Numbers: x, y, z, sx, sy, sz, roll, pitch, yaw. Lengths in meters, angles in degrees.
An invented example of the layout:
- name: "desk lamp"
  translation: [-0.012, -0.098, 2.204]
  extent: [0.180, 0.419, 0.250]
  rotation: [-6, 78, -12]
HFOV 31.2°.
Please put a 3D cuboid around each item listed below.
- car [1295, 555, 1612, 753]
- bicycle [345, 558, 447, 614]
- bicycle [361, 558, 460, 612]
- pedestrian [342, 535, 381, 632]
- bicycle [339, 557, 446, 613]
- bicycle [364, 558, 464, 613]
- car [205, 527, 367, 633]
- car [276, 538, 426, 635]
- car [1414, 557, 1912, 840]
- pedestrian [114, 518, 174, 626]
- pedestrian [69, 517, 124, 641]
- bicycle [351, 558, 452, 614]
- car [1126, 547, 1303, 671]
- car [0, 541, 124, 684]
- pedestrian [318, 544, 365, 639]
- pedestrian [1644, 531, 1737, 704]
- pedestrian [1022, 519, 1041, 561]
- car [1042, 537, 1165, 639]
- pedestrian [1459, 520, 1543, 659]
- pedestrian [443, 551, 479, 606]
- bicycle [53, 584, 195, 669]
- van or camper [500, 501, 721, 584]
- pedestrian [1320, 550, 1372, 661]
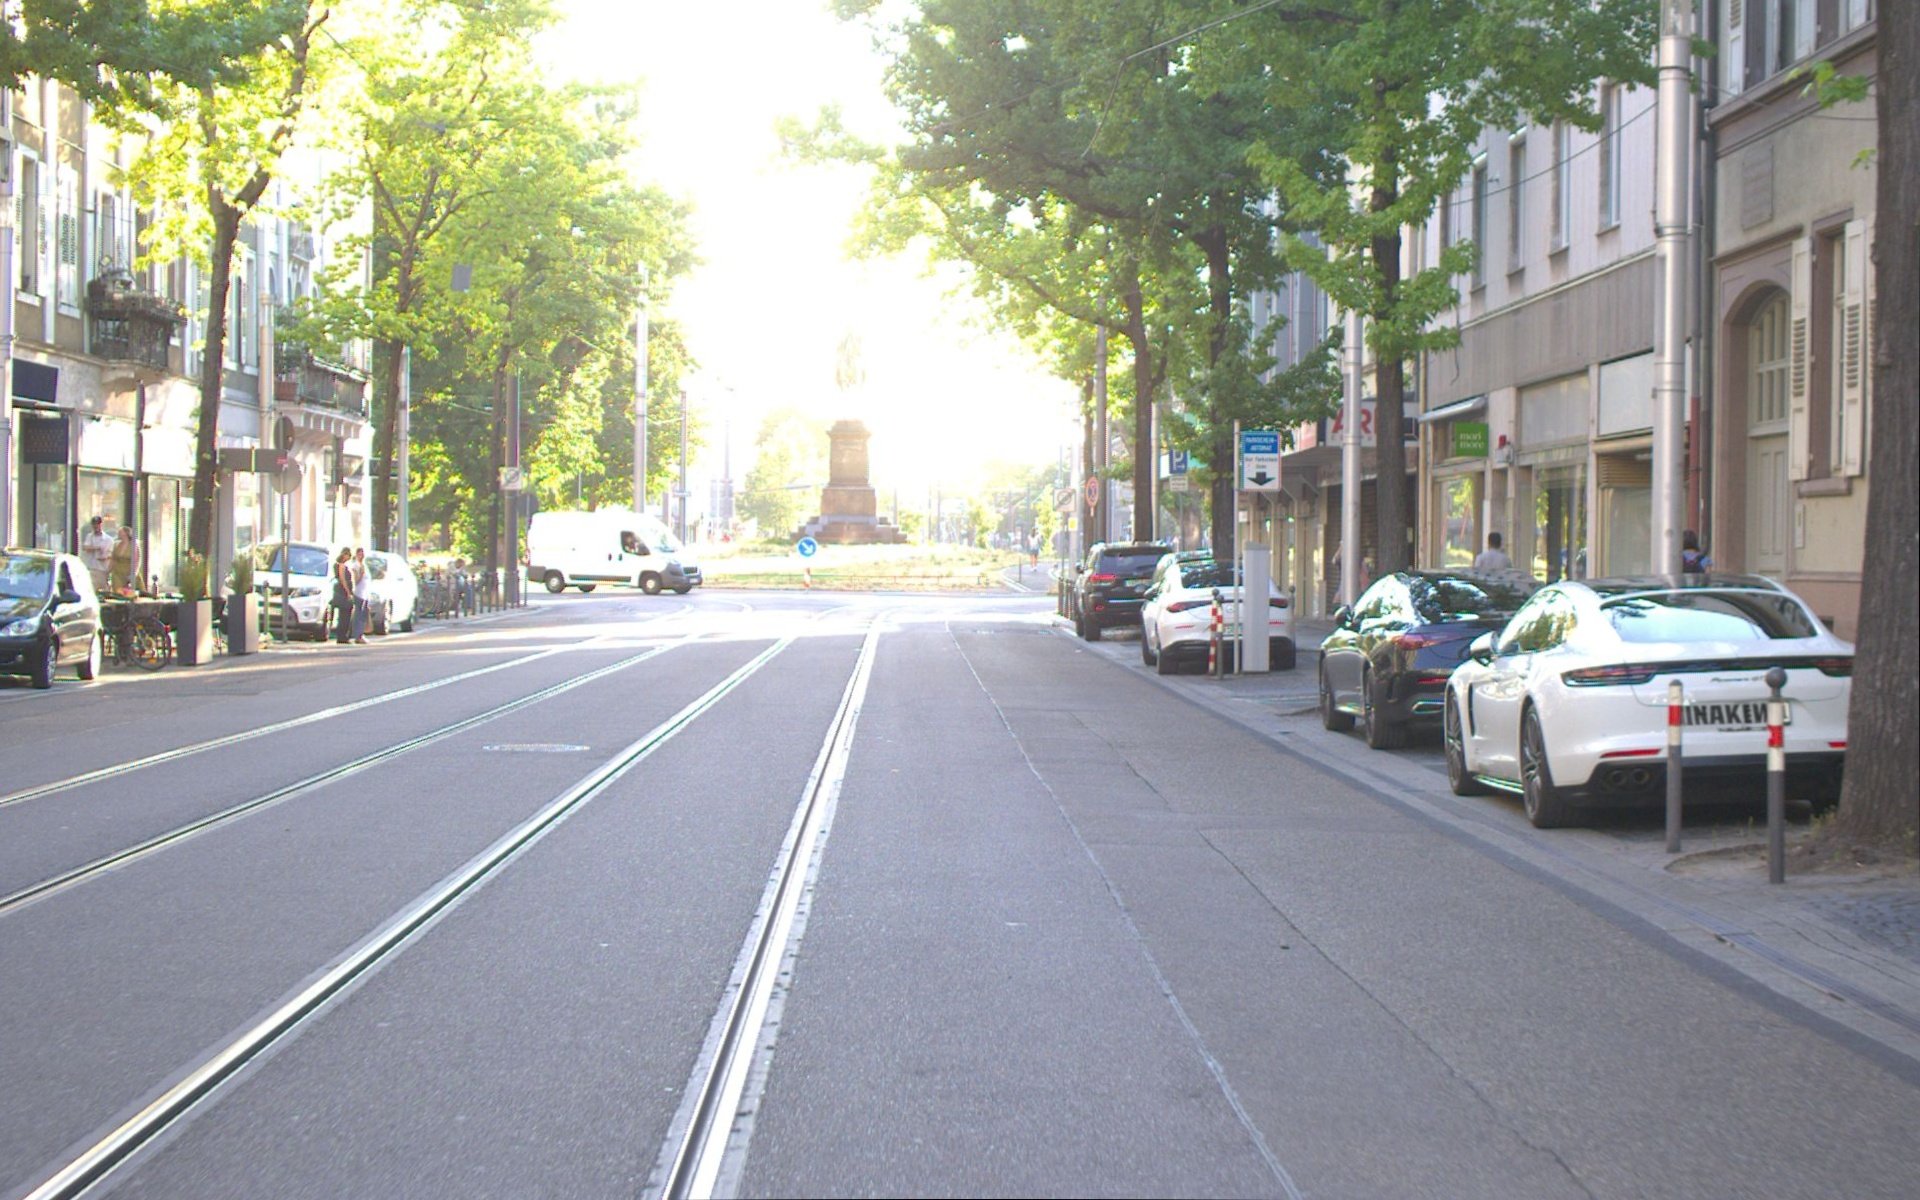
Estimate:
- name: "car"
  translation: [4.064, 0.389, 29.079]
  extent: [1.833, 1.473, 4.762]
  rotation: [-1, 1, -2]
- name: "bicycle"
  translation: [-11.911, -0.286, 72.606]
  extent: [2.023, 1.101, 0.501]
  rotation: [2, 0, -26]
- name: "bicycle"
  translation: [-11.938, -0.327, 74.708]
  extent: [2.024, 1.101, 0.501]
  rotation: [2, 0, 2]
- name: "pedestrian"
  translation: [-9.663, -0.261, 55.535]
  extent: [0.521, 1.564, 0.634]
  rotation: [0, 0, 0]
- name: "bicycle"
  translation: [-11.878, -0.315, 72.017]
  extent: [2.108, 1.101, 0.501]
  rotation: [2, 0, -26]
- name: "bicycle"
  translation: [-11.767, -0.313, 74.123]
  extent: [2.024, 1.101, 0.501]
  rotation: [2, 0, 2]
- name: "car"
  translation: [-11.269, -0.355, 57.726]
  extent: [1.836, 1.575, 4.116]
  rotation: [4, 1, -1]
- name: "car"
  translation: [-11.125, -0.272, 63.081]
  extent: [1.836, 1.575, 4.702]
  rotation: [4, 1, -1]
- name: "car"
  translation: [4.063, 0.494, 20.722]
  extent: [1.912, 1.415, 4.888]
  rotation: [-2, 1, -1]
- name: "pedestrian"
  translation: [-13.383, -0.466, 56.414]
  extent: [0.722, 1.754, 1.090]
  rotation: [1, 1, -1]
- name: "pedestrian"
  translation: [-14.165, -0.344, 56.418]
  extent: [0.722, 2.007, 0.643]
  rotation: [1, 1, -1]
- name: "bicycle"
  translation: [-11.891, -0.298, 73.243]
  extent: [2.023, 1.101, 0.501]
  rotation: [2, 0, -26]
- name: "car"
  translation: [3.405, 0.076, 46.798]
  extent: [1.993, 1.493, 4.680]
  rotation: [-3, 1, 0]
- name: "car"
  translation: [-10.517, 0.092, 37.953]
  extent: [1.665, 1.423, 3.828]
  rotation: [3, 1, -2]
- name: "pedestrian"
  translation: [-9.844, -0.134, 54.713]
  extent: [0.620, 1.504, 0.729]
  rotation: [0, 0, 0]
- name: "pedestrian"
  translation: [7.193, 0.166, 33.871]
  extent: [0.658, 1.659, 0.888]
  rotation: [-2, 1, -2]
- name: "pedestrian"
  translation: [2.746, -2.325, 132.307]
  extent: [0.636, 1.600, 0.772]
  rotation: [0, 1, -3]
- name: "car"
  translation: [2.641, -0.254, 64.254]
  extent: [1.938, 1.753, 4.680]
  rotation: [-3, 1, -1]
- name: "pedestrian"
  translation: [7.051, -0.144, 44.856]
  extent: [0.858, 1.747, 0.933]
  rotation: [-3, 1, -1]
- name: "pedestrian"
  translation: [-11.754, -0.510, 81.003]
  extent: [0.728, 1.286, 0.857]
  rotation: [1, 1, -3]
- name: "bicycle"
  translation: [-10.295, 0.324, 42.358]
  extent: [1.616, 0.962, 0.432]
  rotation: [3, 1, 5]
- name: "van or camper"
  translation: [-10.808, -1.800, 106.216]
  extent: [6.307, 2.464, 2.613]
  rotation: [1, 1, 24]
- name: "pedestrian"
  translation: [5.945, 0.080, 52.967]
  extent: [0.643, 1.664, 0.786]
  rotation: [-3, 1, -1]
